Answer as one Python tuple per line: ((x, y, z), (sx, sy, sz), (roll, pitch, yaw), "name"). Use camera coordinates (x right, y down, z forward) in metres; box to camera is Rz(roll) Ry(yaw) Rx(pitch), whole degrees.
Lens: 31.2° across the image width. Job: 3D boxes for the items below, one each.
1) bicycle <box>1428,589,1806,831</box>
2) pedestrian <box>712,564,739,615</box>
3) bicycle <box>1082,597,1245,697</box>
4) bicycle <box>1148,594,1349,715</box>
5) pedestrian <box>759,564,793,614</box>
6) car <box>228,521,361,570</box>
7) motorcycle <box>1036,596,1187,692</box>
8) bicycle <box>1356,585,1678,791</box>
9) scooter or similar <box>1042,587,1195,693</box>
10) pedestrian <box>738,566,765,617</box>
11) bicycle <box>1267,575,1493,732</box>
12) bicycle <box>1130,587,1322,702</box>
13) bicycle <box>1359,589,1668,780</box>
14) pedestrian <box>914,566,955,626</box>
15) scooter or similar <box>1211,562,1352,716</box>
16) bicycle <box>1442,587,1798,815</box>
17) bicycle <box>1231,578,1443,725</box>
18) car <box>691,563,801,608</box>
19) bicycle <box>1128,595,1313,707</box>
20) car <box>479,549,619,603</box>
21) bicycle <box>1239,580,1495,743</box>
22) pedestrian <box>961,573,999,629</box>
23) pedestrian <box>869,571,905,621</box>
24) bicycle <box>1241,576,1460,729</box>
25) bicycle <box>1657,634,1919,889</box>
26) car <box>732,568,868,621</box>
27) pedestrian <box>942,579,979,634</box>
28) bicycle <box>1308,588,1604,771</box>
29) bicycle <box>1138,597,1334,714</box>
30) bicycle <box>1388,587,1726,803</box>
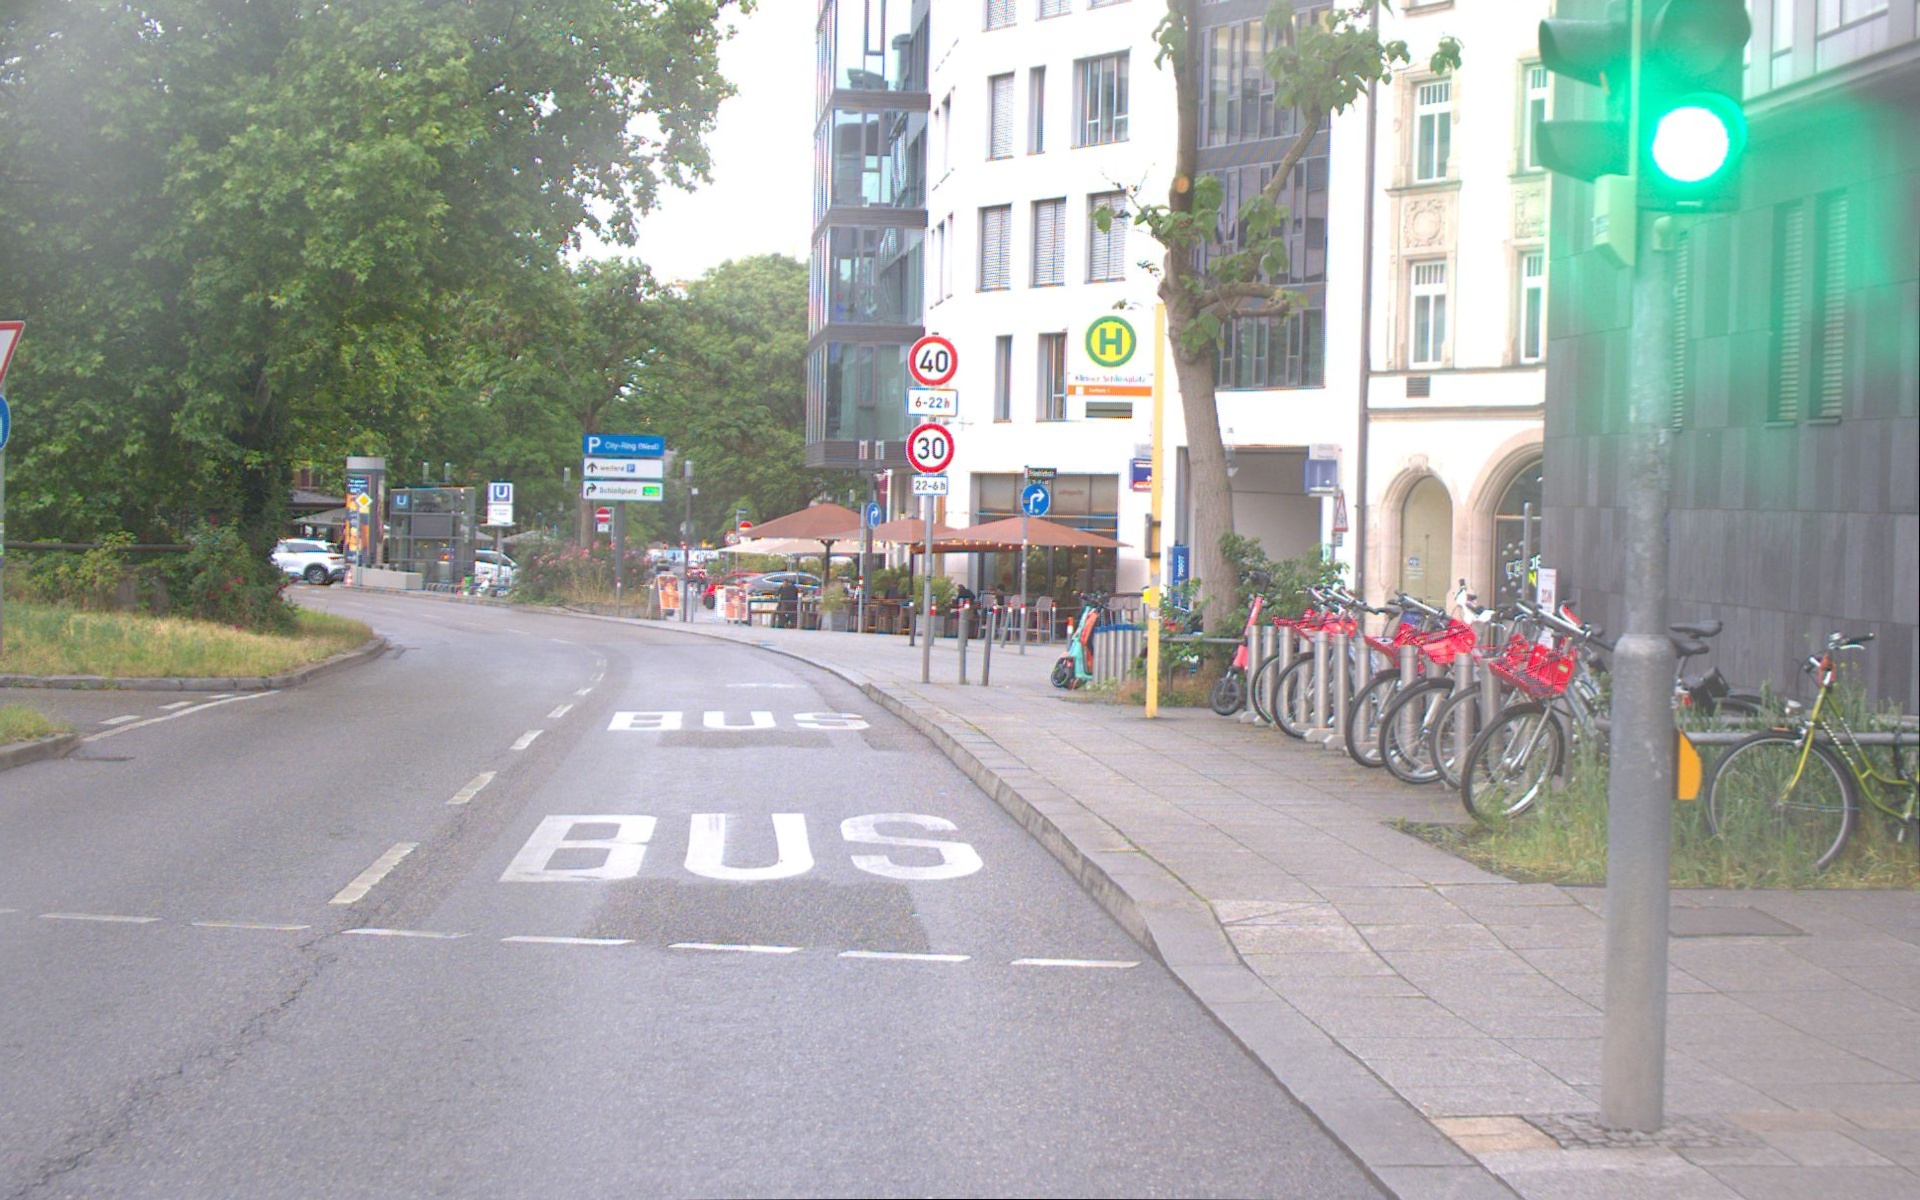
((3.303, 0.546, 17.341), (1.729, 1.179, 0.689), (0, 1, -10), "bicycle")
((-6.306, -0.277, 92.414), (0.606, 1.322, 0.568), (4, 0, -8), "pedestrian")
((2.434, 0.558, 41.156), (1.794, 1.104, 0.670), (3, -1, -10), "bicycle")
((2.757, 0.523, 32.950), (1.794, 1.064, 0.556), (3, -1, -9), "bicycle")
((-5.036, -0.308, 94.093), (0.817, 1.322, 0.636), (4, 0, -8), "pedestrian")
((-24.426, -1.991, 126.171), (4.333, 1.661, 1.952), (2, 0, 12), "car")
((1.932, 0.561, 43.954), (1.791, 1.136, 0.596), (3, -1, -9), "motorcycle")
((3.277, 0.511, 20.288), (1.729, 1.179, 0.689), (0, 1, -10), "bicycle")
((1.988, 0.500, 43.218), (1.791, 1.239, 0.596), (3, -1, -9), "scooter or similar")
((-5.616, -0.233, 92.530), (0.606, 1.322, 0.568), (4, 0, -8), "pedestrian")
((3.158, 0.405, 25.884), (1.534, 1.136, 0.689), (1, -1, -10), "bicycle")
((2.674, 0.448, 34.591), (1.794, 1.064, 0.556), (3, -1, -9), "bicycle")
((3.396, 0.514, 21.143), (1.729, 1.136, 0.689), (0, 1, -10), "bicycle")
((-0.595, -0.093, 79.394), (0.773, 1.322, 0.636), (4, 0, -9), "pedestrian")
((2.673, 0.323, 28.609), (1.105, 1.253, 0.302), (1, -1, -11), "scooter or similar")
((3.534, 0.533, 18.458), (1.729, 1.179, 0.689), (0, 1, -10), "bicycle")
((3.009, 0.412, 27.469), (1.534, 1.136, 0.663), (1, -1, -10), "bicycle")
((-8.119, -0.570, 130.329), (3.997, 1.505, 1.795), (3, 1, 42), "car")
((2.761, 0.541, 36.488), (1.794, 1.104, 0.670), (3, -1, -10), "bicycle")
((-14.382, -0.852, 120.585), (4.734, 1.685, 2.005), (3, 1, -4), "car")
((2.959, 0.446, 25.062), (1.705, 1.136, 0.689), (1, -1, -10), "bicycle")
((0.487, 0.032, 84.652), (0.626, 1.322, 0.636), (4, 0, -28), "pedestrian")
((-2.014, -0.124, 94.765), (0.817, 1.322, 0.636), (4, 0, -8), "pedestrian")
((3.024, 0.406, 26.656), (1.534, 1.136, 0.689), (1, -1, -10), "bicycle")
((4.015, 0.696, 15.078), (1.729, 1.066, 0.689), (0, 1, -10), "bicycle")
((-5.759, -0.200, 123.265), (4.734, 1.685, 2.005), (3, 1, -4), "car")
((0.017, 0.159, 85.852), (0.626, 1.322, 0.636), (4, 0, -28), "pedestrian")
((3.161, 0.503, 21.968), (1.729, 1.136, 0.689), (0, 1, -10), "bicycle")
((2.708, 0.543, 33.816), (1.794, 1.064, 0.556), (3, -1, -9), "bicycle")
((3.345, 0.525, 19.319), (1.729, 1.179, 0.689), (0, 1, -10), "bicycle")
